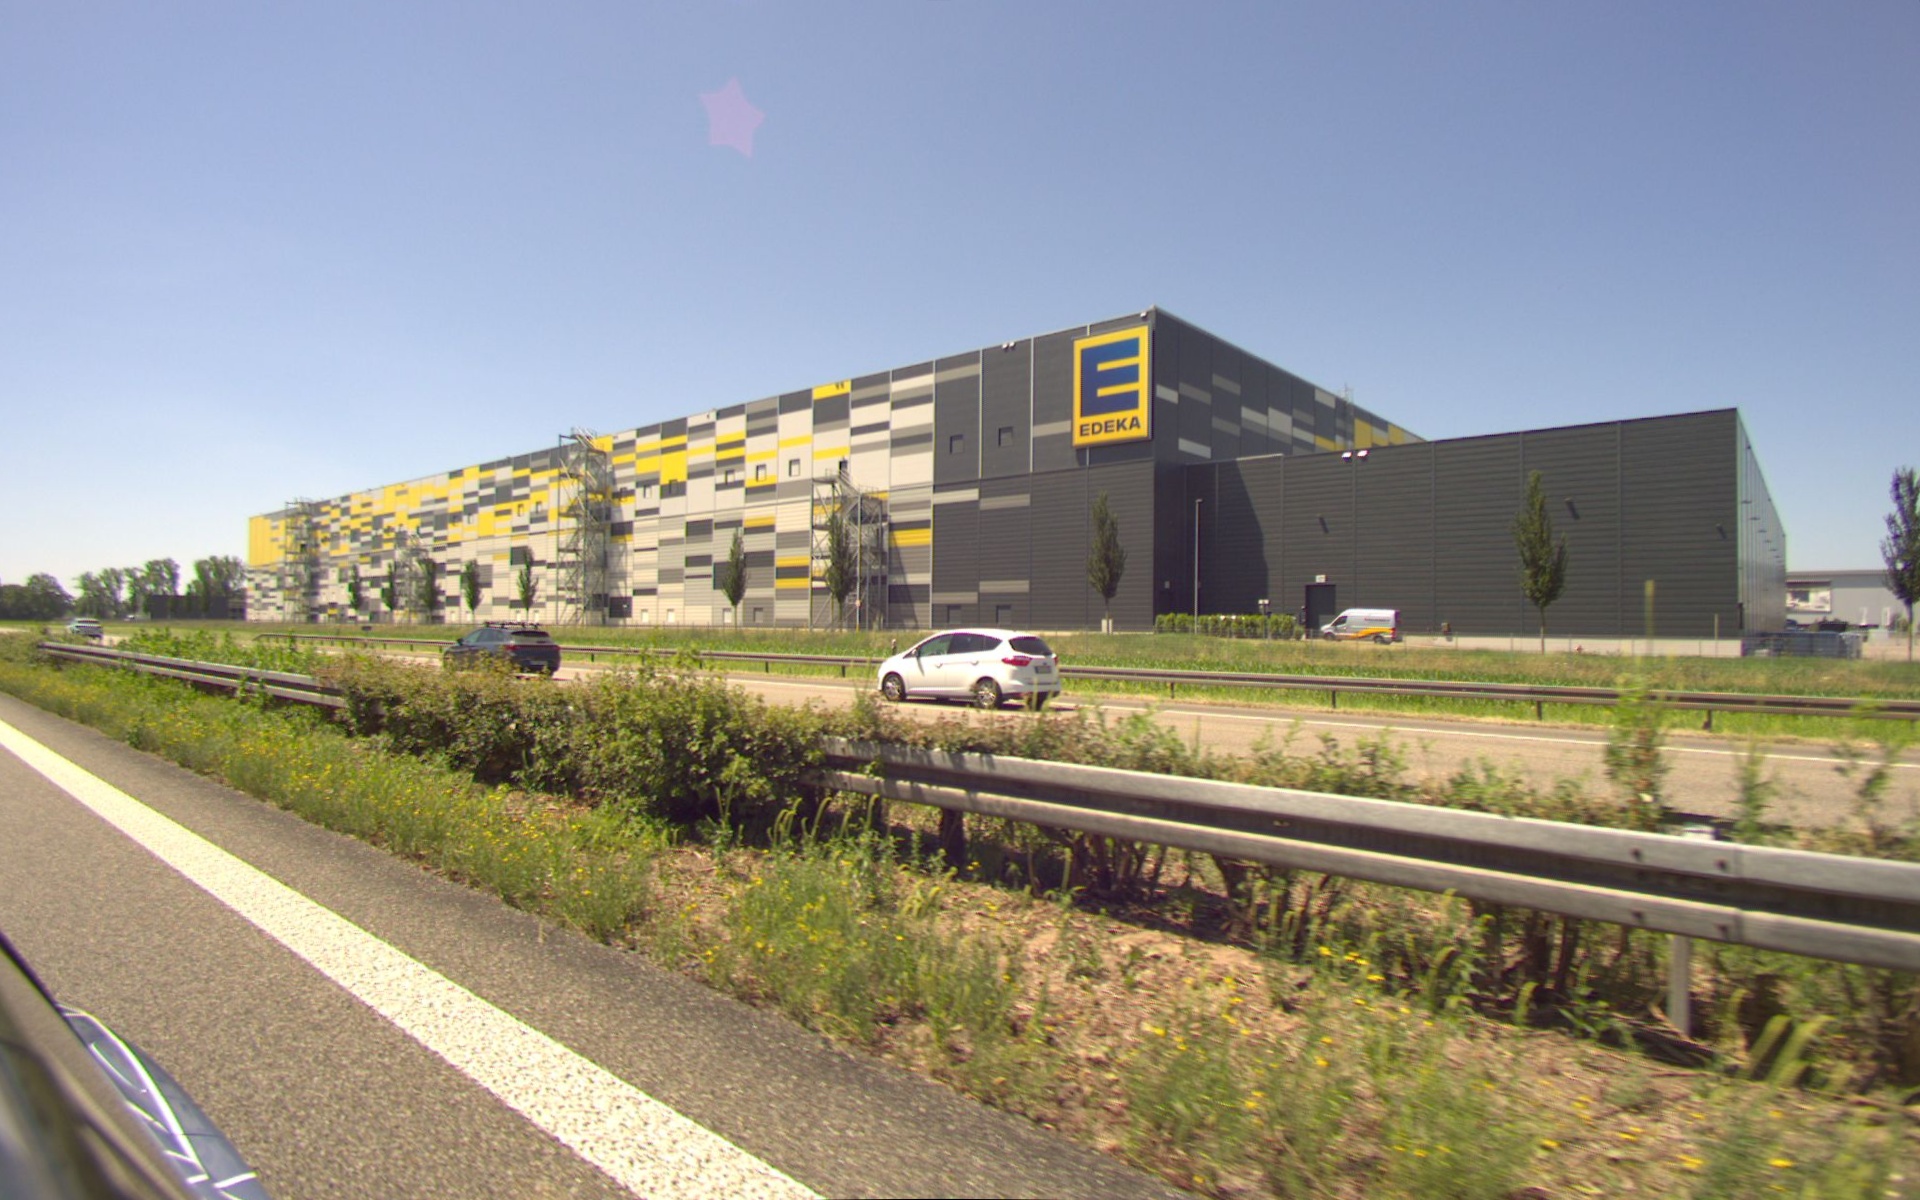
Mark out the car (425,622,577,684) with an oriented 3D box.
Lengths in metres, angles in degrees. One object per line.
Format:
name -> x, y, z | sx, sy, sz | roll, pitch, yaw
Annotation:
car -> -12.999, 1.470, 28.519 | 5.029, 1.544, 1.880 | -1, -5, 40

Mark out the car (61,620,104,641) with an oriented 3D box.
car -> -65.400, 2.275, 75.432 | 4.415, 1.495, 1.788 | -1, -4, 41

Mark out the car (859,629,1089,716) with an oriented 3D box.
car -> 0.202, 1.452, 21.328 | 4.740, 1.606, 1.880 | -1, -3, 40

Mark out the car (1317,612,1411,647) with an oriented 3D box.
car -> 30.276, 2.210, 75.999 | 6.171, 2.475, 2.372 | -1, -2, 41
